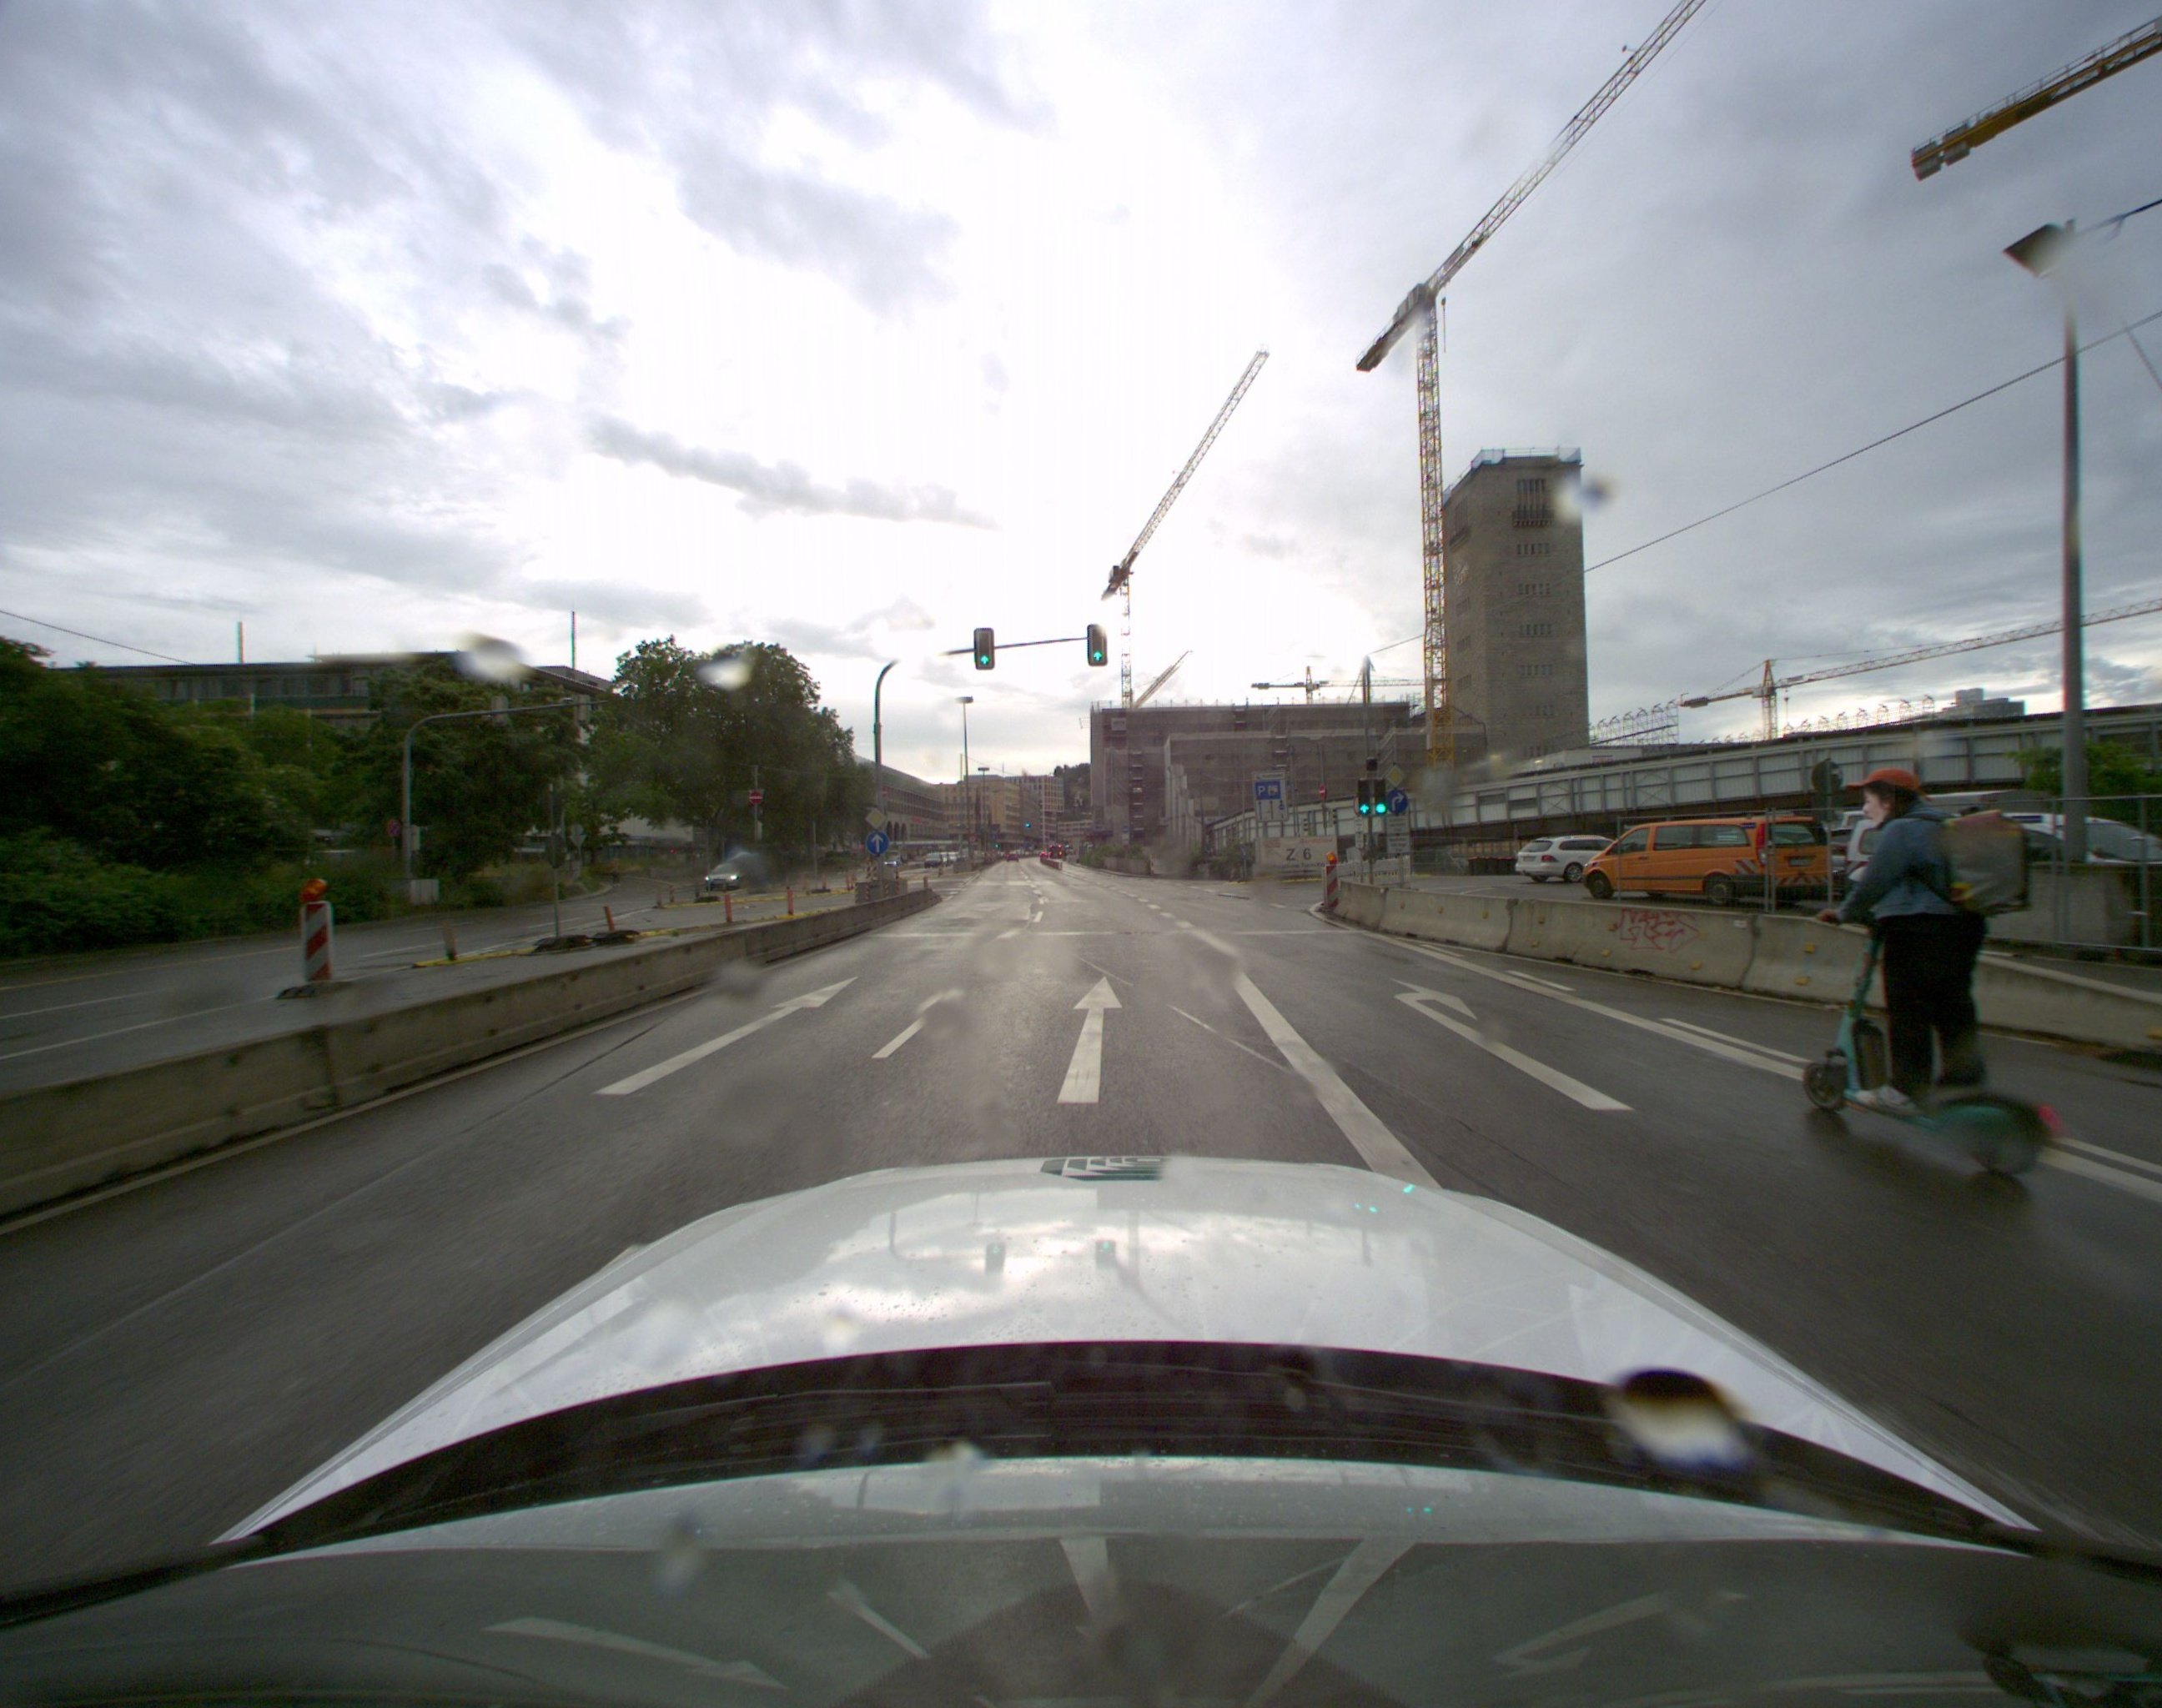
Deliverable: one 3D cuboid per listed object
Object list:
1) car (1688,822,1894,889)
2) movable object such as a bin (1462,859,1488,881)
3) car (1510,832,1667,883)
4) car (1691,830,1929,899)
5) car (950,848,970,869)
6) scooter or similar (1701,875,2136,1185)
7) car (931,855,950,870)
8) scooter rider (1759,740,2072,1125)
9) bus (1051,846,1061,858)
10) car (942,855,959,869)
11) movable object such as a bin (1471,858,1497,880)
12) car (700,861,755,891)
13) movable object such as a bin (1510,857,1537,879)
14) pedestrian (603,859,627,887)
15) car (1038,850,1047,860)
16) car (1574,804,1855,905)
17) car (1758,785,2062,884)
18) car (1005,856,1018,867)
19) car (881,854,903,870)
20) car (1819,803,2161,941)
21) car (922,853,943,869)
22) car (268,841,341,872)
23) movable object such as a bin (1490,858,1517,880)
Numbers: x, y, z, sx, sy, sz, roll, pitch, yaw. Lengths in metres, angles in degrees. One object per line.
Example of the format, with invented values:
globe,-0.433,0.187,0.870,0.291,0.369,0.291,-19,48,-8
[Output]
car,19.482,0.040,22.596,1.940,1.619,3.920,-3,0,-11
movable object such as a bin,21.366,0.879,44.196,0.986,1.102,0.731,-3,-2,4
car,16.543,0.099,26.620,4.201,1.452,1.809,-2,0,-9
car,16.922,0.302,19.206,1.910,1.451,3.902,1,-3,-7
car,-13.218,0.492,89.175,1.900,2.083,4.167,-3,-2,-7
scooter or similar,4.318,0.791,4.413,0.595,1.319,1.666,-1,0,-2
car,-16.480,0.977,95.428,1.900,1.528,4.167,-3,-2,-7
scooter rider,4.312,0.365,4.301,0.595,1.786,0.996,-1,-1,-2
bus,-5.594,-0.543,183.863,1.986,2.432,4.000,-3,-2,1
car,-16.673,1.010,104.305,1.900,1.528,4.167,-3,-2,-7
movable object such as a bin,21.383,0.814,43.242,0.986,1.102,0.748,-3,-2,4
car,-19.220,1.162,44.467,1.766,1.463,4.162,-4,0,-11
movable object such as a bin,23.446,0.739,43.152,0.986,1.102,0.731,-3,-2,4
pedestrian,-27.007,1.086,47.202,0.583,1.557,1.117,-4,-2,13
car,-9.257,0.251,196.634,1.989,2.014,3.995,-3,-2,-3
car,14.060,0.015,18.598,1.911,1.975,5.146,-1,0,-9
car,22.232,-0.453,22.300,2.045,2.313,5.584,-3,0,-11
car,-11.040,1.233,130.017,1.900,1.528,4.167,-3,-2,-7
car,-21.598,0.940,93.355,1.900,1.528,4.167,-3,-2,-7
car,14.968,0.189,12.841,1.843,1.806,5.078,-1,1,-5
car,-16.231,0.817,89.399,1.900,1.528,4.167,-3,-2,-7
car,-45.526,0.157,47.852,1.911,1.528,3.971,-2,-3,-25
movable object such as a bin,22.417,0.796,43.205,0.986,1.102,0.731,-3,-2,4
